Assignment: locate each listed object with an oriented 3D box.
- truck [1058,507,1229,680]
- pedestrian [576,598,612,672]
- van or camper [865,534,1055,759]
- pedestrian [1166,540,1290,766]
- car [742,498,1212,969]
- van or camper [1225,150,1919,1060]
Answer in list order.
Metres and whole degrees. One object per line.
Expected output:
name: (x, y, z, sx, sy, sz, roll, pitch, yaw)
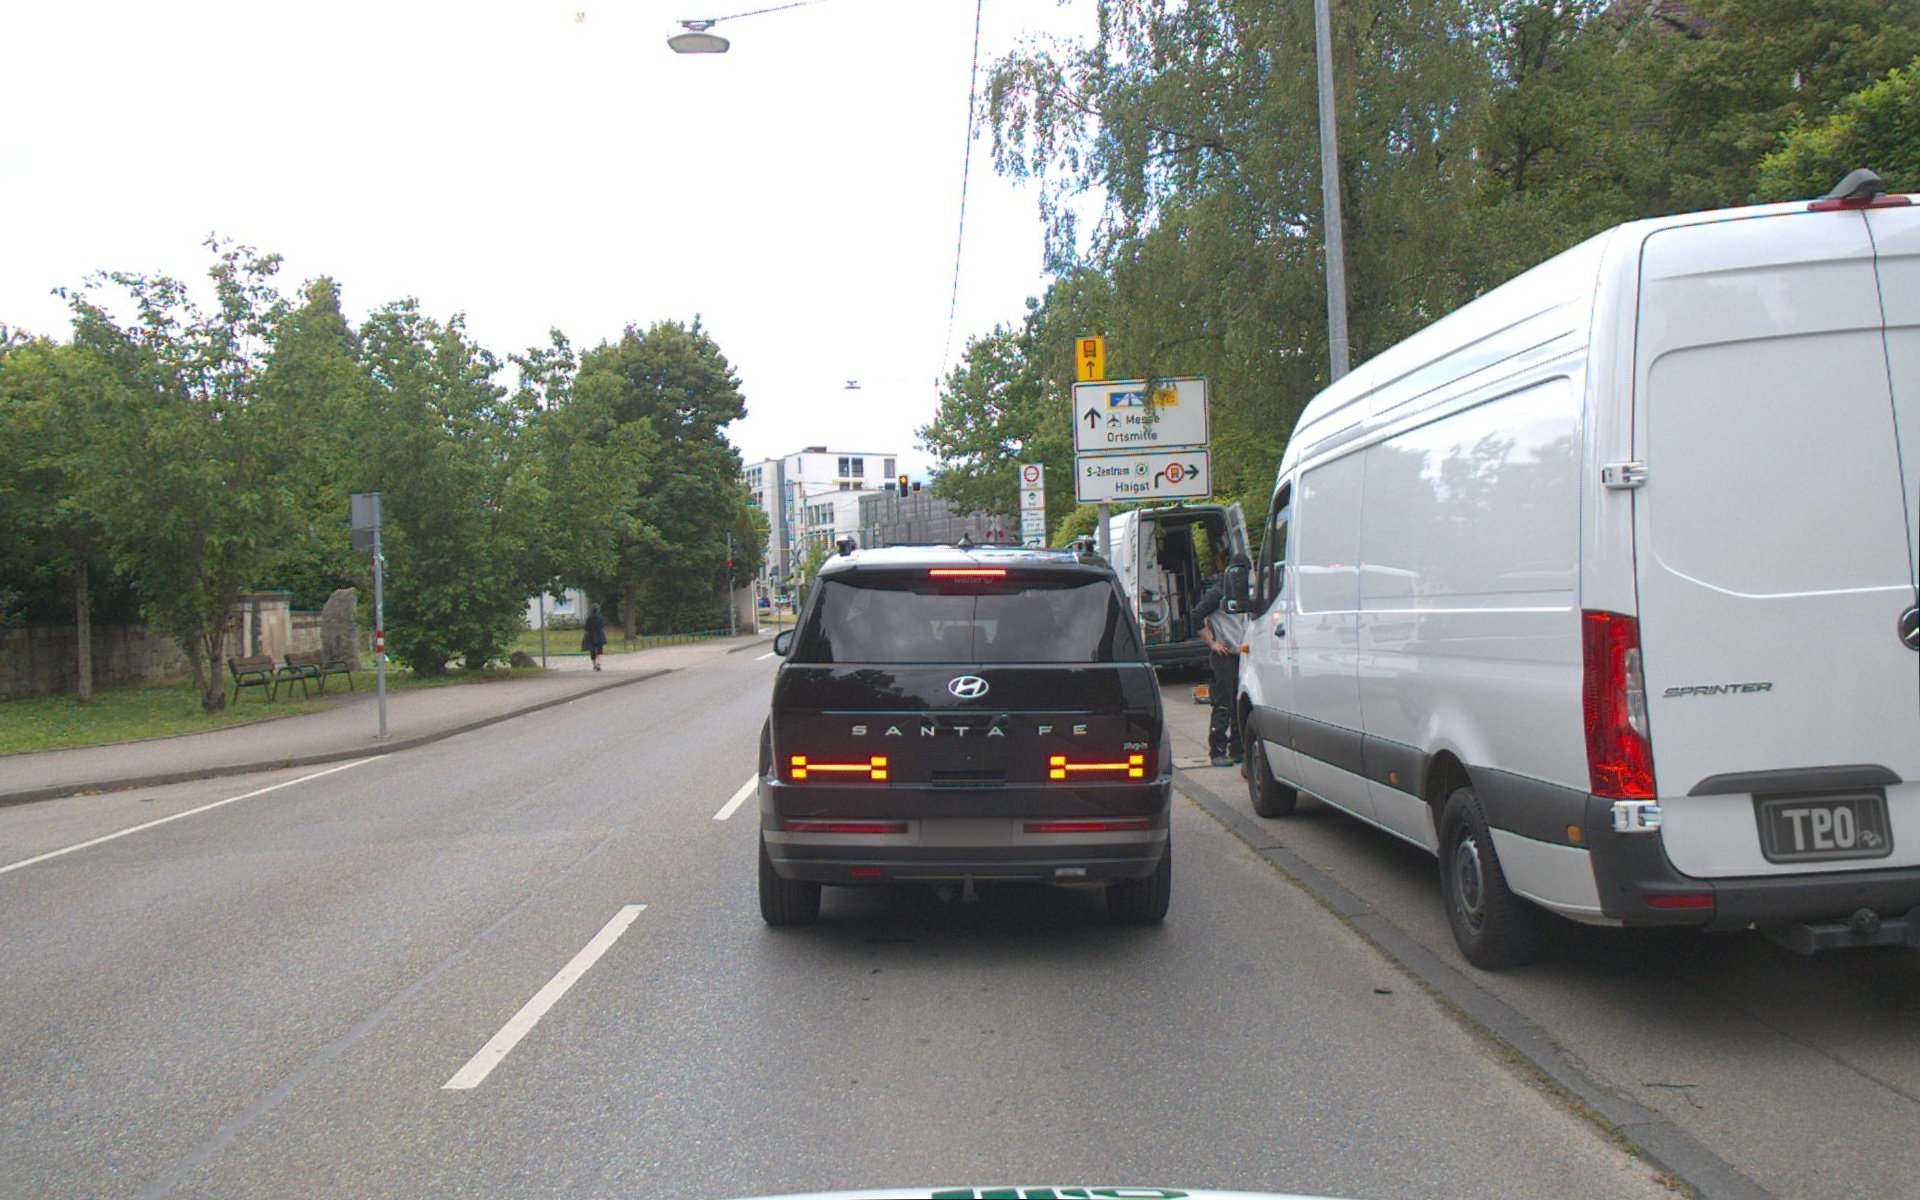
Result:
truck: (3.027, -0.088, 28.476, 1.904, 2.606, 5.212, -3, 0, -4)
pedestrian: (-8.816, 0.836, 39.847, 0.724, 1.745, 0.791, -2, 0, -8)
van or camper: (-0.028, 0.425, 17.482, 1.719, 2.049, 3.999, -2, 0, -1)
pedestrian: (2.249, 0.431, 13.965, 0.852, 1.828, 0.759, -2, 0, -2)
car: (0.041, 0.518, 8.538, 1.851, 1.851, 3.999, 0, 0, -1)
van or camper: (2.893, -0.015, 8.177, 1.953, 2.665, 6.540, -2, 0, -1)
